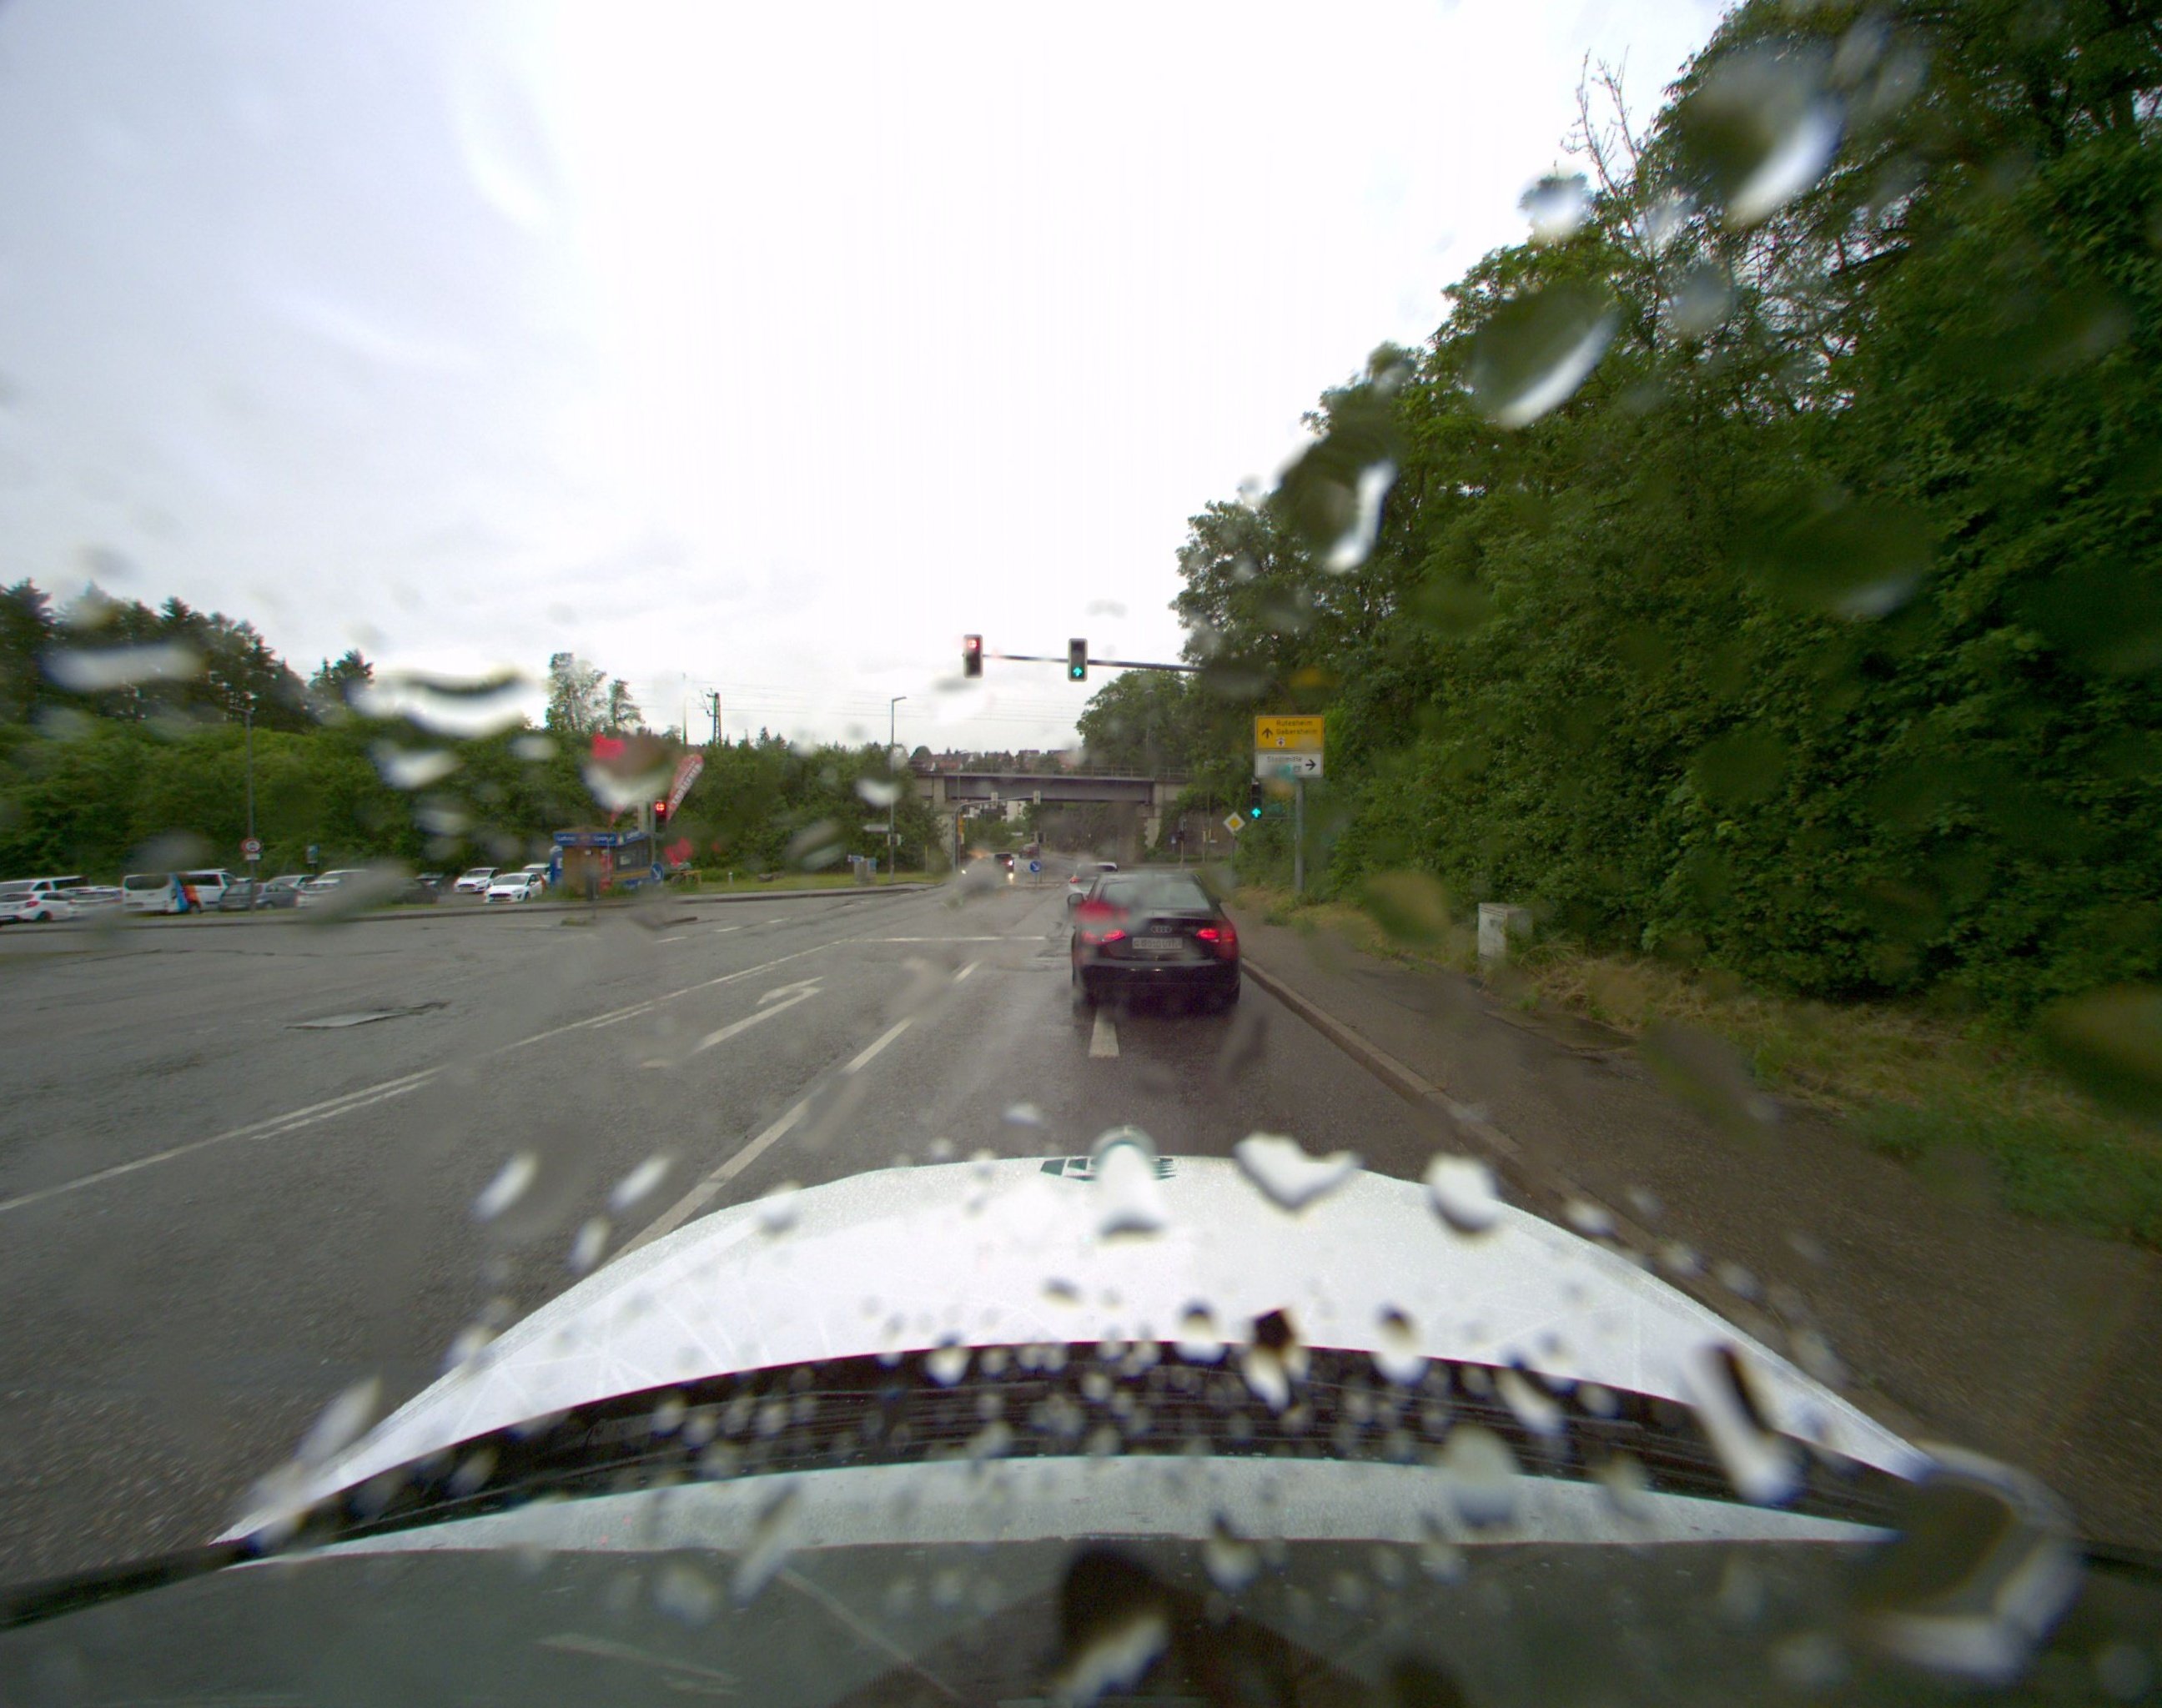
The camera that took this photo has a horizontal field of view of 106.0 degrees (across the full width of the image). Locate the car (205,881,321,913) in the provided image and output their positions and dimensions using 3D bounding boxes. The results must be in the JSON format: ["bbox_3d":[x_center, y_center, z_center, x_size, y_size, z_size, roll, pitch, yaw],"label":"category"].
[{"bbox_3d":[-37.209,1.937,37.183,1.751,1.310,3.984,0,-1,-11],"label":"car"}]

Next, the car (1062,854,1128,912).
[{"bbox_3d":[0.448,0.860,24.609,1.816,1.585,4.001,-1,-1,2],"label":"car"}]

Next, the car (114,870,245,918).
[{"bbox_3d":[-39.488,1.726,35.842,1.997,1.949,3.978,0,-2,-16],"label":"car"}]

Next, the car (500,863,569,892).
[{"bbox_3d":[-32.651,1.362,48.782,1.994,1.585,3.985,-2,0,-11],"label":"car"}]

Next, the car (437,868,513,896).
[{"bbox_3d":[-35.515,1.623,47.875,1.994,1.585,3.984,0,-1,-11],"label":"car"}]

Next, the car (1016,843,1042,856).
[{"bbox_3d":[-6.574,-0.579,103.413,2.003,1.595,3.969,-2,2,-24],"label":"car"}]

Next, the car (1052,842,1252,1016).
[{"bbox_3d":[0.730,0.754,9.700,1.863,1.617,4.001,-1,-1,2],"label":"car"}]

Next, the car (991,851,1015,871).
[{"bbox_3d":[-7.005,0.633,73.300,1.990,1.628,3.993,-1,0,-5],"label":"car"}]

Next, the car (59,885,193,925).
[{"bbox_3d":[-41.774,2.204,35.763,1.858,1.585,3.978,0,-2,-16],"label":"car"}]

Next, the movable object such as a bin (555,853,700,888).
[{"bbox_3d":[-22.777,0.820,41.083,2.716,1.628,5.816,-2,-2,41],"label":"movable object such as a bin"}]

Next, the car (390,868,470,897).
[{"bbox_3d":[-37.988,1.650,47.623,1.994,1.585,3.984,0,-1,-11],"label":"car"}]

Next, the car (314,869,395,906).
[{"bbox_3d":[-42.208,1.883,47.441,1.941,2.014,3.849,0,0,-15],"label":"car"}]

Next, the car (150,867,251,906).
[{"bbox_3d":[-49.369,1.790,45.794,1.997,2.014,3.980,-1,0,-14],"label":"car"}]

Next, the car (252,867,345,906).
[{"bbox_3d":[-44.808,1.813,46.765,1.995,2.014,3.983,-2,0,-12],"label":"car"}]

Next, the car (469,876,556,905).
[{"bbox_3d":[-27.843,1.745,40.074,1.652,1.340,4.883,0,-1,-11],"label":"car"}]

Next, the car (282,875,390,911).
[{"bbox_3d":[-34.659,1.786,38.035,1.937,1.585,3.892,0,-1,-11],"label":"car"}]

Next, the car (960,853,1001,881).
[{"bbox_3d":[-5.582,0.711,45.578,1.633,1.470,4.001,-1,0,2],"label":"car"}]

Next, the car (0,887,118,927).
[{"bbox_3d":[-44.409,2.241,35.056,1.837,1.585,3.978,0,-2,-16],"label":"car"}]
